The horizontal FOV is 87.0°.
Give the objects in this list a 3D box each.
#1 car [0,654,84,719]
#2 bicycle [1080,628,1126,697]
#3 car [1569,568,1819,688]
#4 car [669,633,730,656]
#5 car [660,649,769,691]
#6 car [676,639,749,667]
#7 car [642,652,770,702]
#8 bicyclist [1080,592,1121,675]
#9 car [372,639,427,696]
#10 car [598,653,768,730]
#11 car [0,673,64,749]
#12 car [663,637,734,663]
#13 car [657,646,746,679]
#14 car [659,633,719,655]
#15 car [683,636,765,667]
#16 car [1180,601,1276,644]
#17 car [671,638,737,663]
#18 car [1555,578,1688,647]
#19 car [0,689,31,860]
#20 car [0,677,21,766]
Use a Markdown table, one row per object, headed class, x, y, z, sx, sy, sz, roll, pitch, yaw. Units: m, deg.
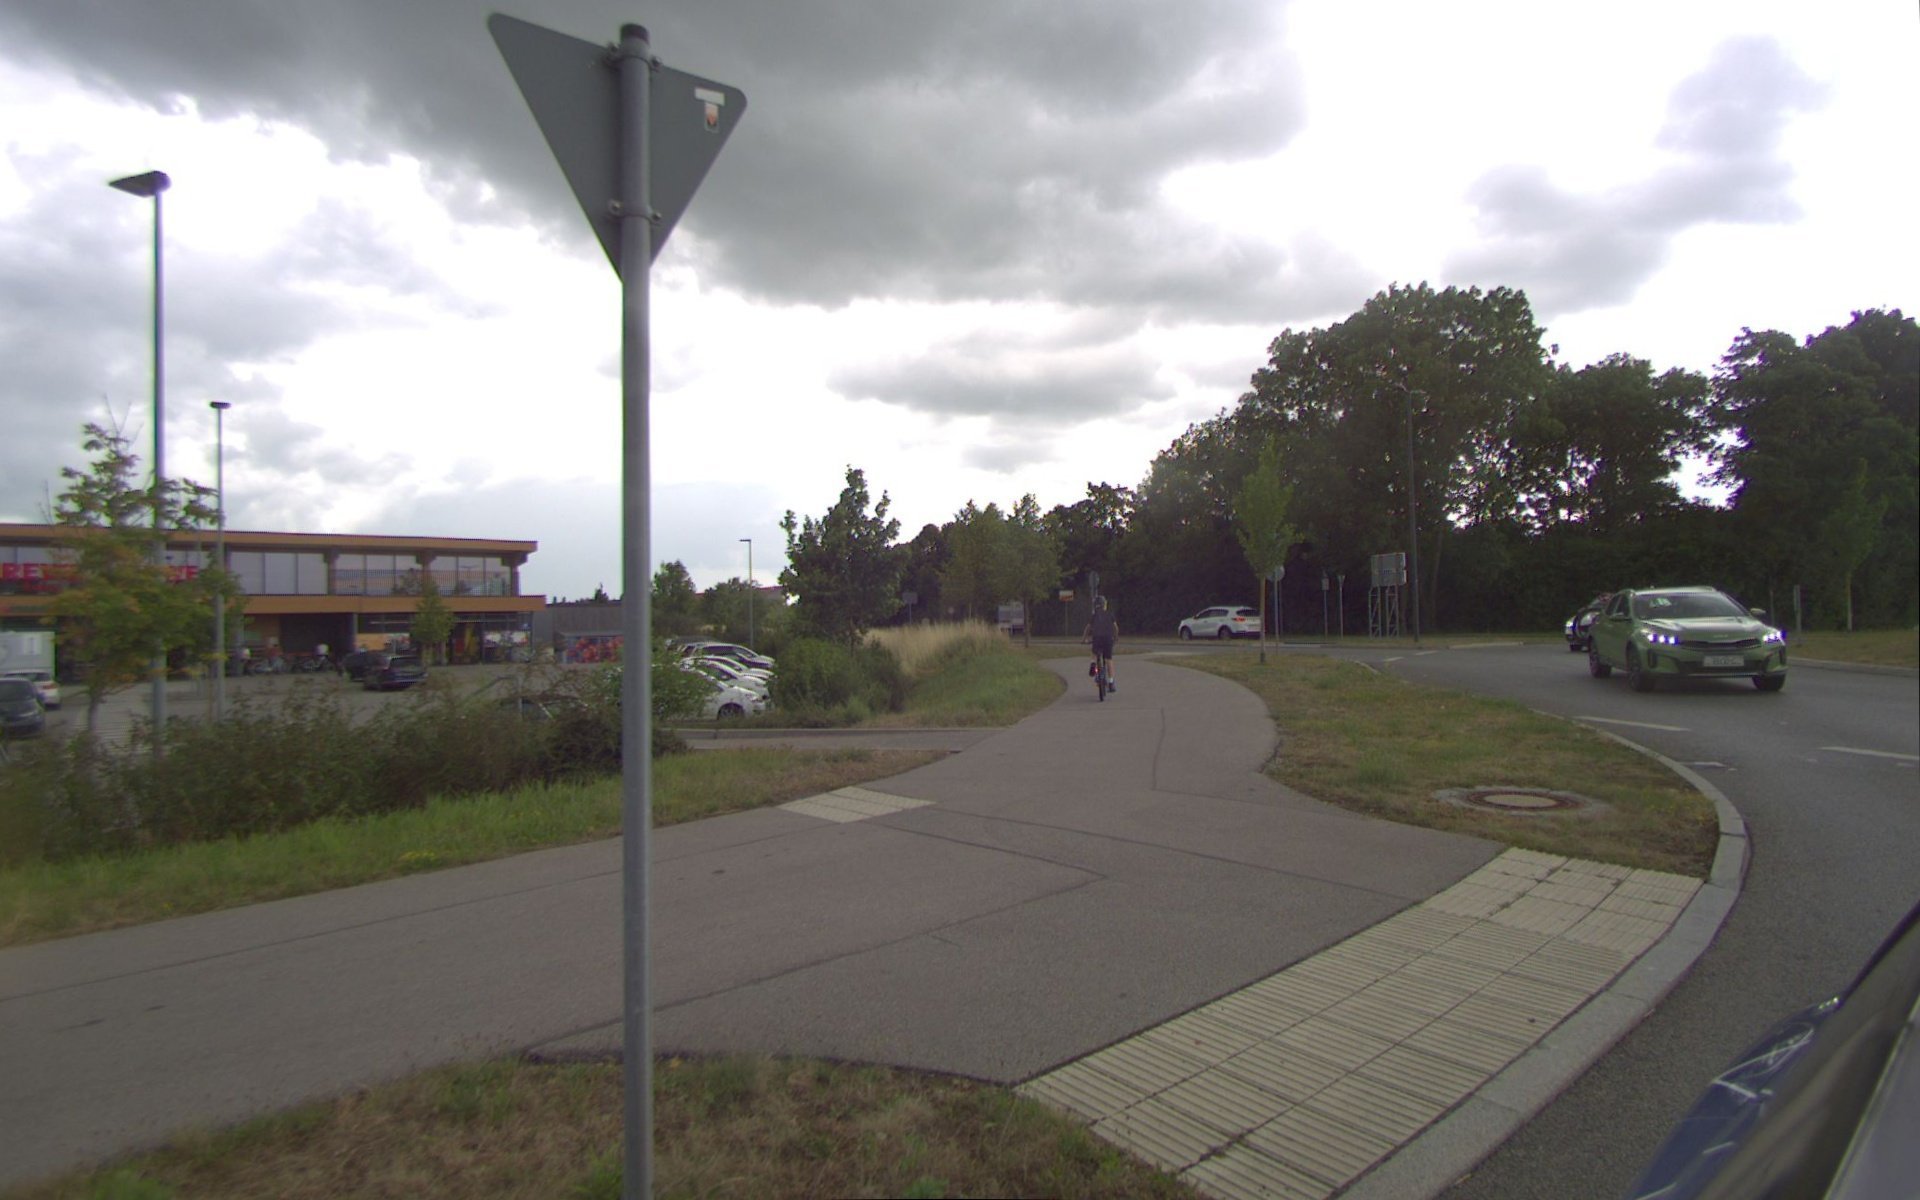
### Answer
| class | x | y | z | sx | sy | sz | roll | pitch | yaw |
| --- | --- | --- | --- | --- | --- | --- | --- | --- | --- |
| car | -32.309 | 2.966 | 35.404 | 2.031 | 1.871 | 4.001 | 0 | 0 | -34 |
| bicycle | 2.208 | 0.954 | 15.715 | 0.557 | 0.974 | 1.300 | 0 | 0 | 1 |
| car | 11.482 | 0.390 | 16.302 | 1.848 | 1.608 | 5.029 | -2 | -1 | 20 |
| car | -17.476 | 2.953 | 67.976 | 3.917 | 1.377 | 1.704 | 0 | 0 | -11 |
| car | -9.267 | 2.648 | 38.409 | 3.917 | 1.377 | 1.704 | 0 | 0 | -11 |
| car | -13.736 | 2.932 | 56.374 | 3.917 | 1.377 | 1.704 | 0 | 0 | -11 |
| car | -8.160 | 2.475 | 32.772 | 3.917 | 1.377 | 1.848 | 0 | 0 | -11 |
| bicyclist | 2.174 | 0.514 | 15.732 | 0.545 | 1.259 | 0.659 | 0 | 0 | 1 |
| car | -23.743 | 2.794 | 42.814 | 1.960 | 2.039 | 4.004 | 0 | 0 | -30 |
| car | -7.132 | 2.350 | 26.424 | 4.154 | 1.738 | 1.704 | 0 | 0 | -11 |
| car | -24.178 | 2.761 | 25.423 | 1.962 | 1.504 | 4.132 | 0 | 0 | -34 |
| car | -15.225 | 2.920 | 59.095 | 3.917 | 1.377 | 1.704 | 0 | 0 | -11 |
| car | -12.012 | 2.899 | 47.257 | 3.917 | 1.377 | 1.704 | 0 | 0 | -11 |
| car | -18.752 | 3.066 | 70.182 | 3.917 | 1.377 | 1.704 | 0 | 0 | -11 |
| car | -11.793 | 2.584 | 50.755 | 3.917 | 1.377 | 1.704 | 0 | 0 | -11 |
| car | 11.889 | 0.960 | 45.168 | 1.959 | 1.794 | 4.080 | 0 | 0 | -25 |
| car | -15.770 | 3.086 | 62.481 | 3.917 | 1.377 | 1.704 | 0 | 0 | -11 |
| car | 16.673 | 0.283 | 25.435 | 4.130 | 1.561 | 1.866 | -1 | -1 | -44 |
| car | -13.243 | 2.218 | 13.074 | 1.628 | 1.727 | 3.995 | 0 | 0 | -40 |
| car | -20.359 | 2.475 | 20.507 | 1.770 | 1.728 | 3.386 | 0 | -3 | -40 |
